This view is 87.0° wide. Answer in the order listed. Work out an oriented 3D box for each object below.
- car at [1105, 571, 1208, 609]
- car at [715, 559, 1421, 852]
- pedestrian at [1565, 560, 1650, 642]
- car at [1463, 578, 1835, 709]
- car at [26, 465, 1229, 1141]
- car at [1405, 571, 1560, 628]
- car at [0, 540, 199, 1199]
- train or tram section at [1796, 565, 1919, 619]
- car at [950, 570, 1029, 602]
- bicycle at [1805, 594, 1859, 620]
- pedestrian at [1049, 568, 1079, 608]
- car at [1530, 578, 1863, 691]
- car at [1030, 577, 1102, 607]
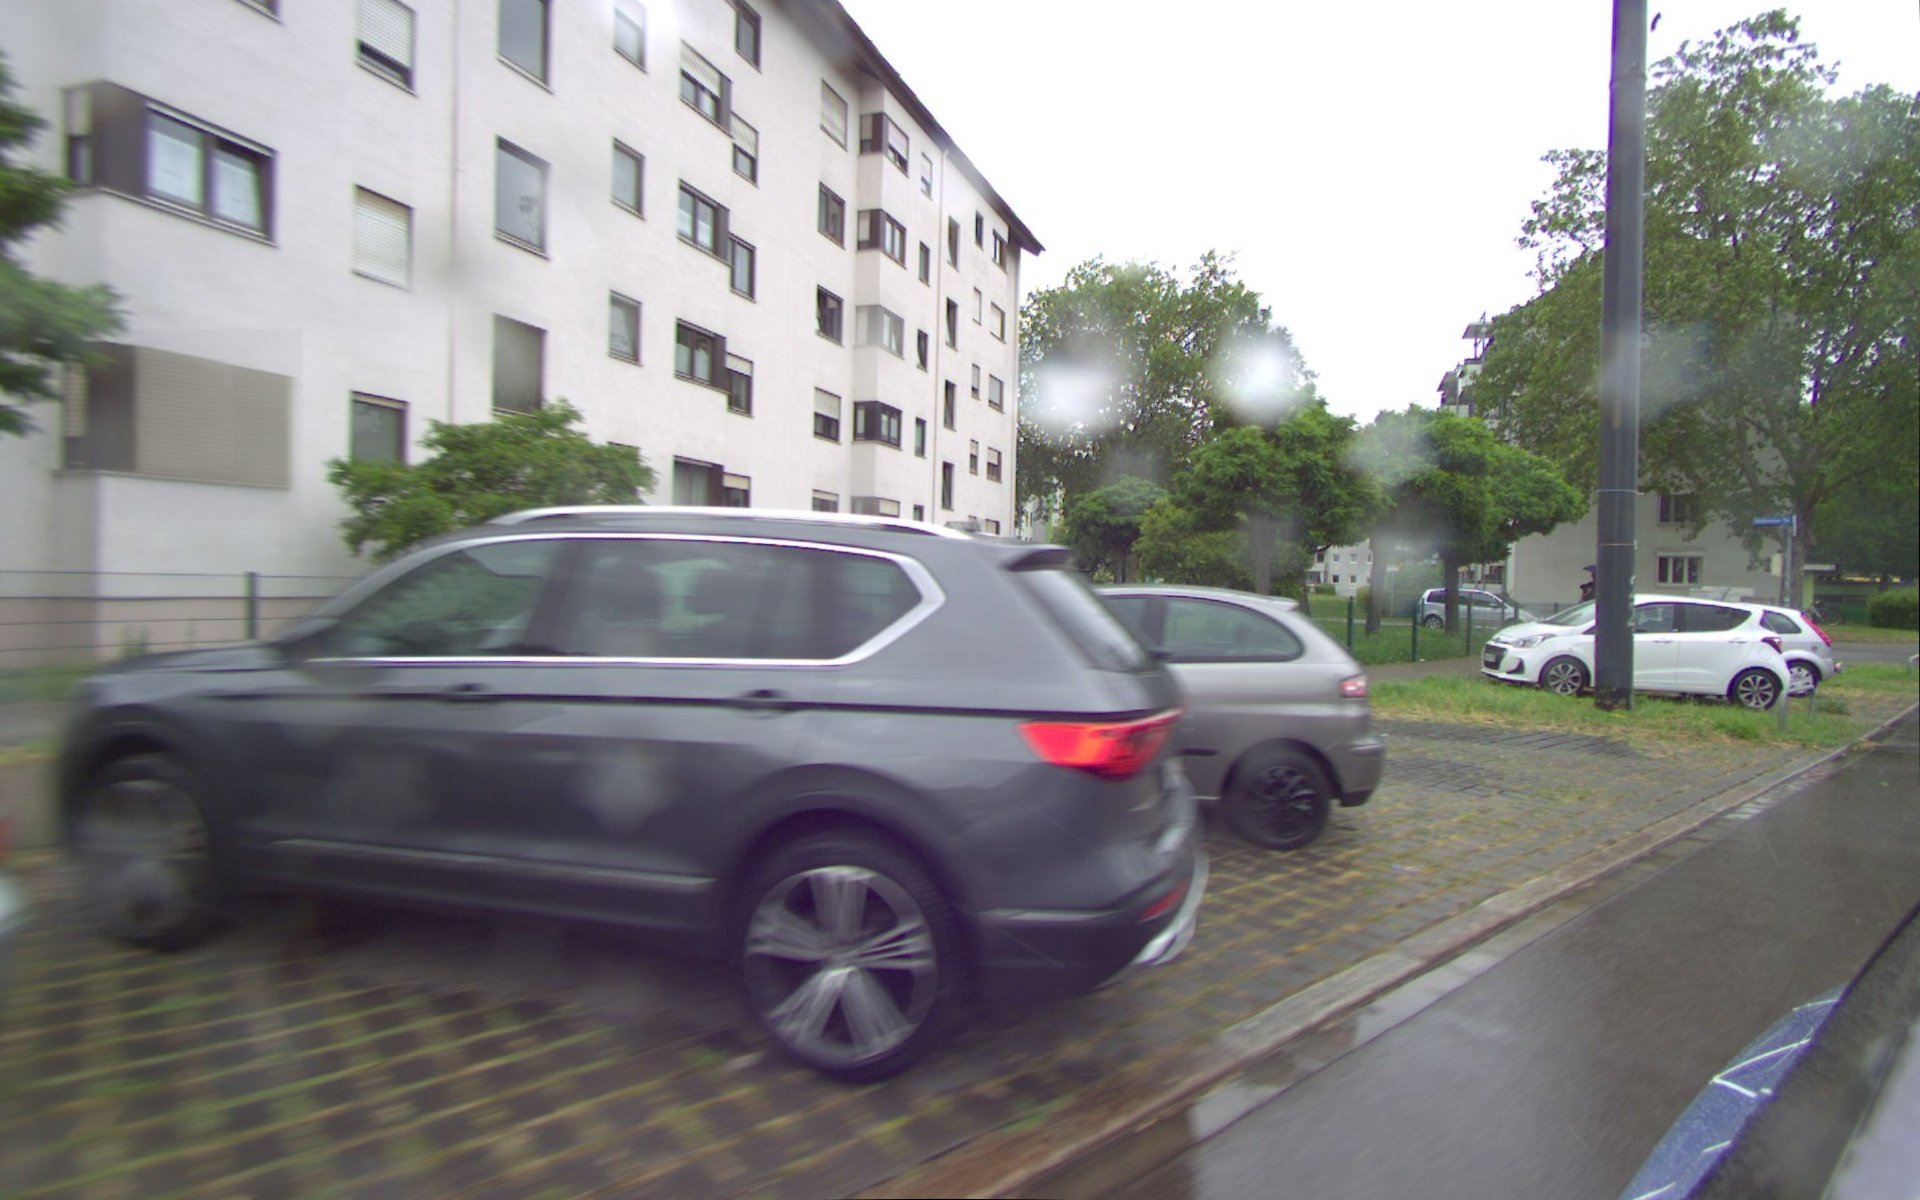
[{"bbox_3d":[8.737,-0.491,45.257,1.902,1.524,4.305,0,2,-38],"label":"car"},{"bbox_3d":[0.622,0.530,6.576,3.935,1.446,1.730,2,1,9],"label":"car"},{"bbox_3d":[14.977,0.015,23.426,1.405,1.836,1.104,1,1,-30],"label":"pedestrian"},{"bbox_3d":[9.597,0.546,14.442,3.937,1.526,1.701,2,4,11],"label":"car"},{"bbox_3d":[-1.202,0.404,4.036,4.292,1.671,1.848,2,1,18],"label":"car"},{"bbox_3d":[17.742,-0.063,34.519,1.837,1.701,4.305,0,2,-38],"label":"car"},{"bbox_3d":[-4.055,0.515,2.158,4.065,1.440,1.731,3,2,14],"label":"car"},{"bbox_3d":[60.185,-0.598,68.097,2.708,3.381,6.396,2,2,4],"label":"train or tram section"},{"bbox_3d":[1.530,-0.763,53.394,1.656,1.524,4.301,0,3,-41],"label":"car"},{"bbox_3d":[41.090,0.307,47.714,1.841,1.156,0.529,2,0,24],"label":"bicycle"},{"bbox_3d":[4.817,-0.566,46.736,0.708,1.791,1.179,1,1,-43],"label":"pedestrian"},{"bbox_3d":[11.893,0.493,16.657,3.942,1.526,1.777,2,4,14],"label":"car"},{"bbox_3d":[5.906,-0.484,56.883,1.709,1.524,4.003,0,2,-38],"label":"car"}]
